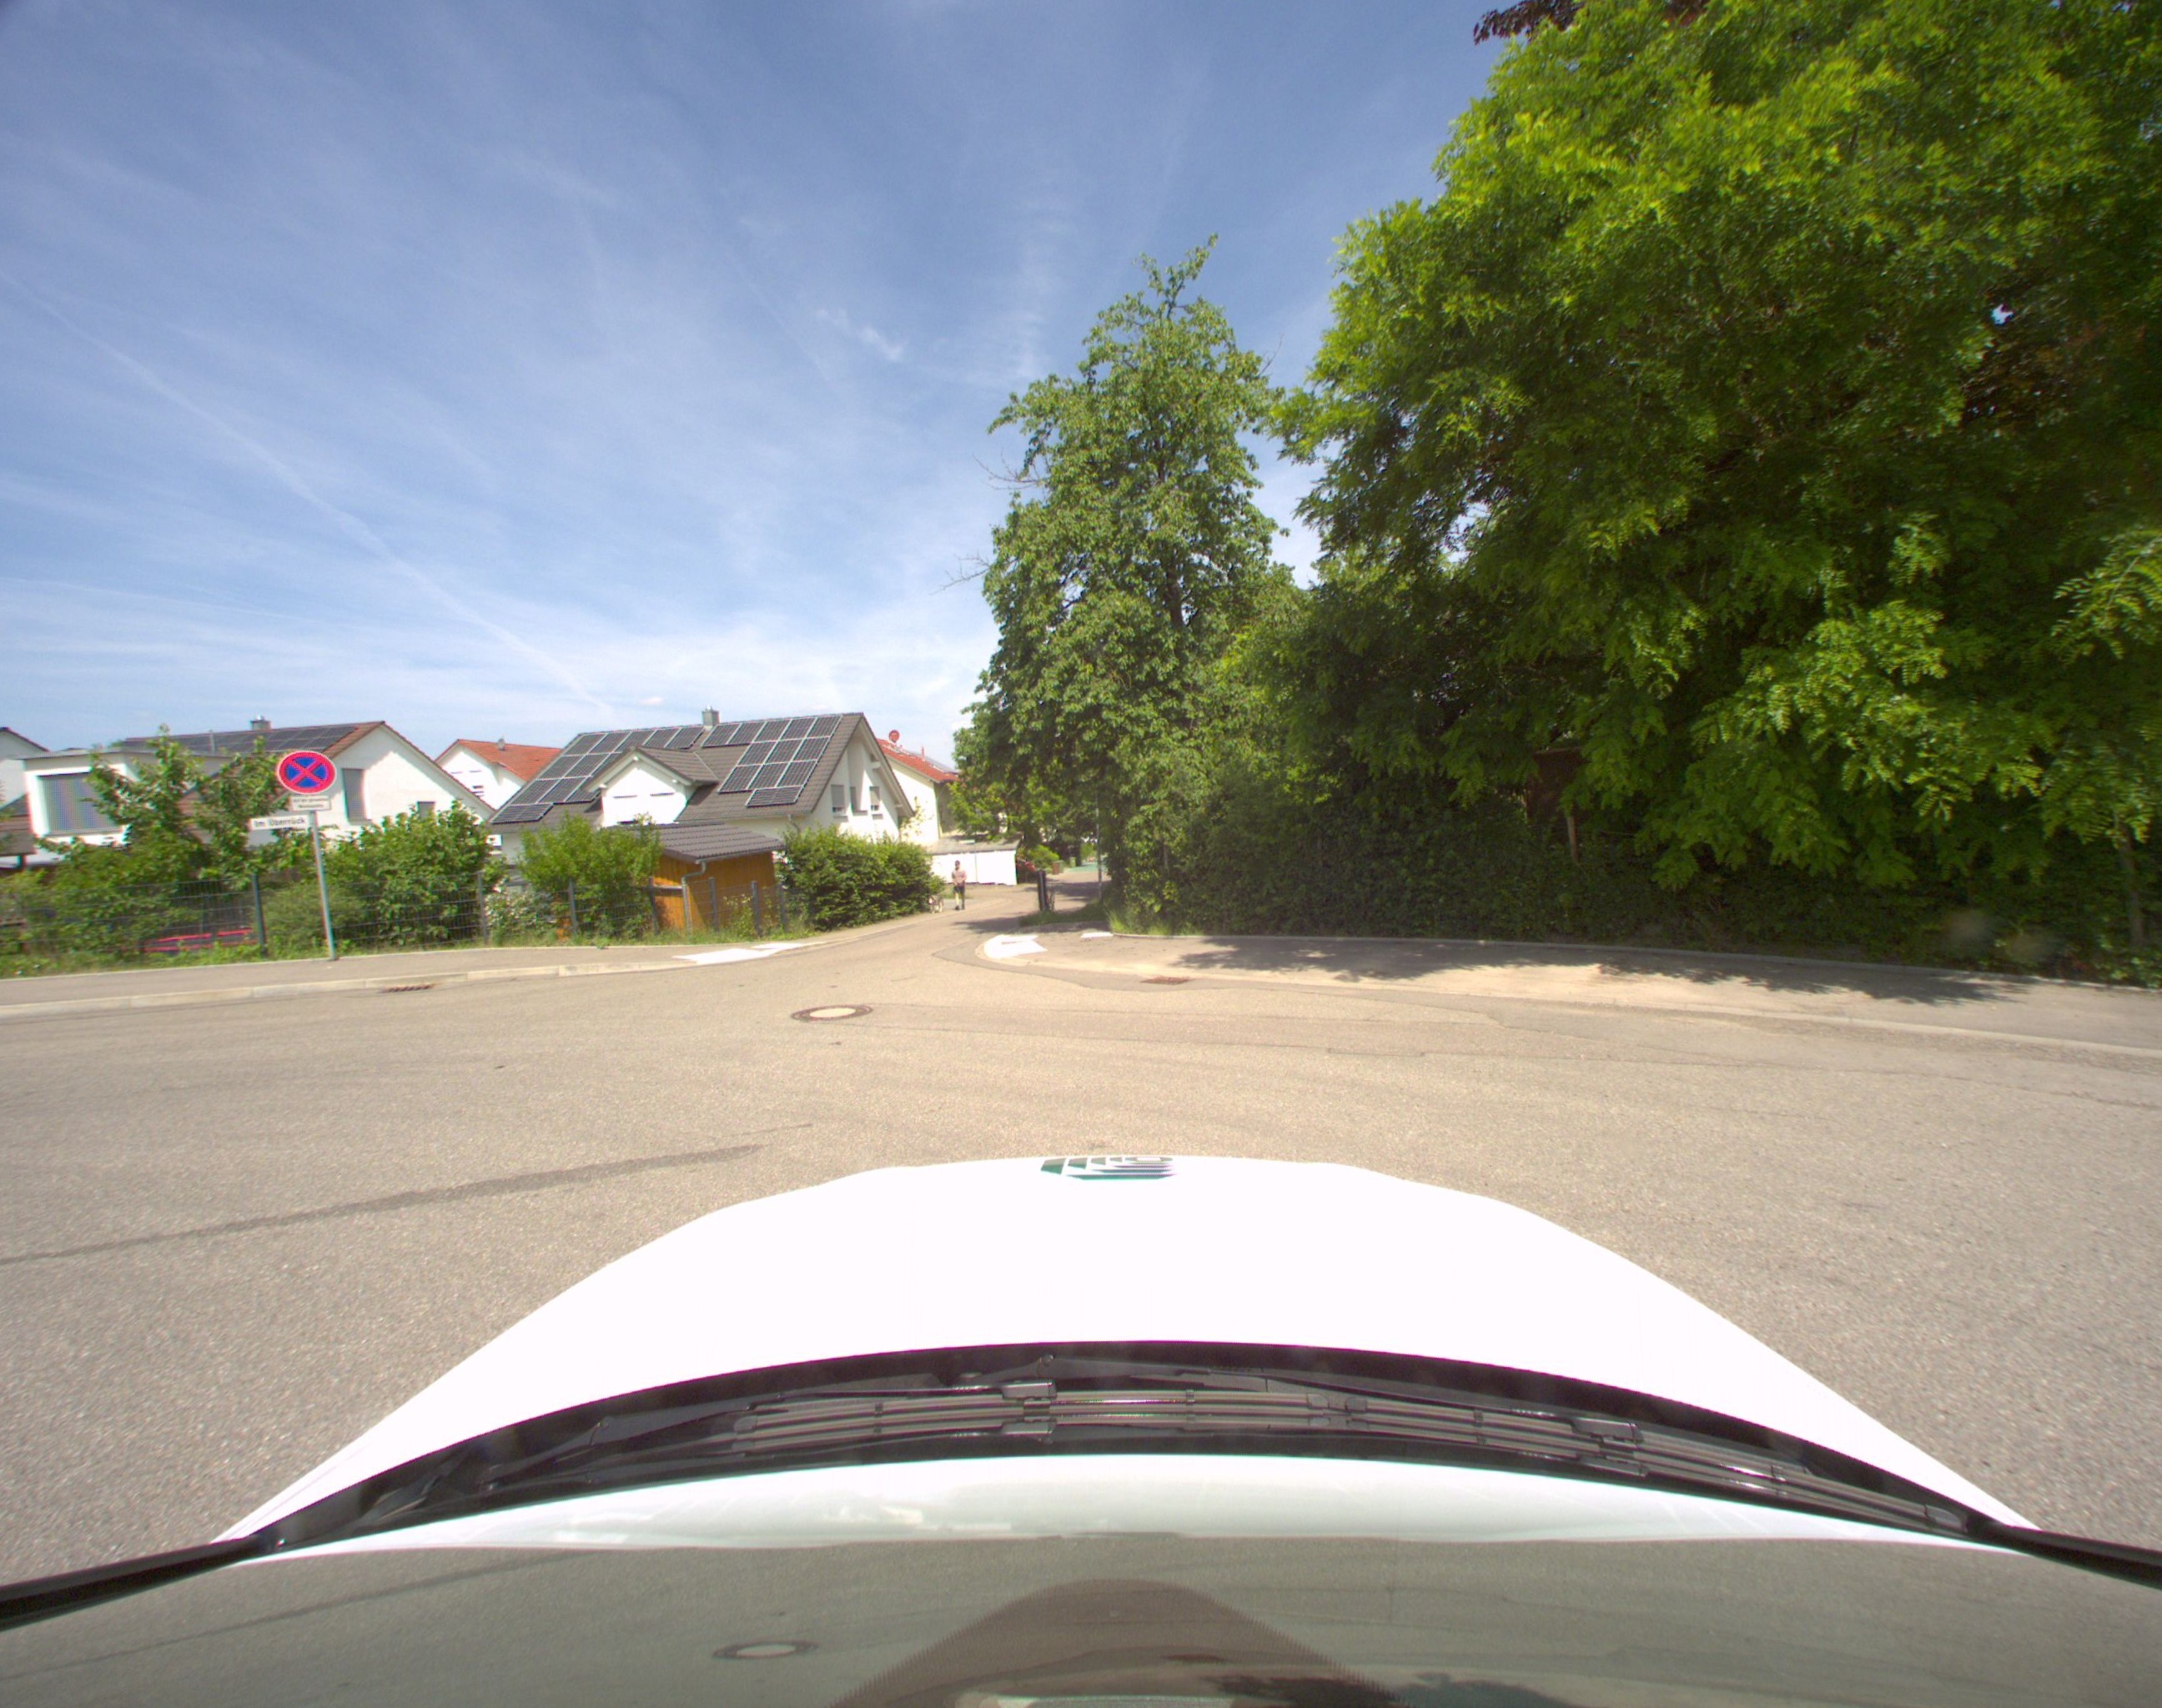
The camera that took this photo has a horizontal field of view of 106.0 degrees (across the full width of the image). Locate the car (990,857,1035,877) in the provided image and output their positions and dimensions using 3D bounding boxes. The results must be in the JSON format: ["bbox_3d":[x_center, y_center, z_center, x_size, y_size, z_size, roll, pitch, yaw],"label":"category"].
[{"bbox_3d":[-5.352,0.986,63.138,3.411,1.420,1.583,-2,1,-7],"label":"car"}]

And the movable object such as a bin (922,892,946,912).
[{"bbox_3d":[-5.061,1.660,28.121,0.545,0.629,1.022,-2,-2,5],"label":"movable object such as a bin"}]

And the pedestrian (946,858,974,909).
[{"bbox_3d":[-4.395,1.078,29.606,0.843,1.820,0.834,-2,-4,-1],"label":"pedestrian"}]
